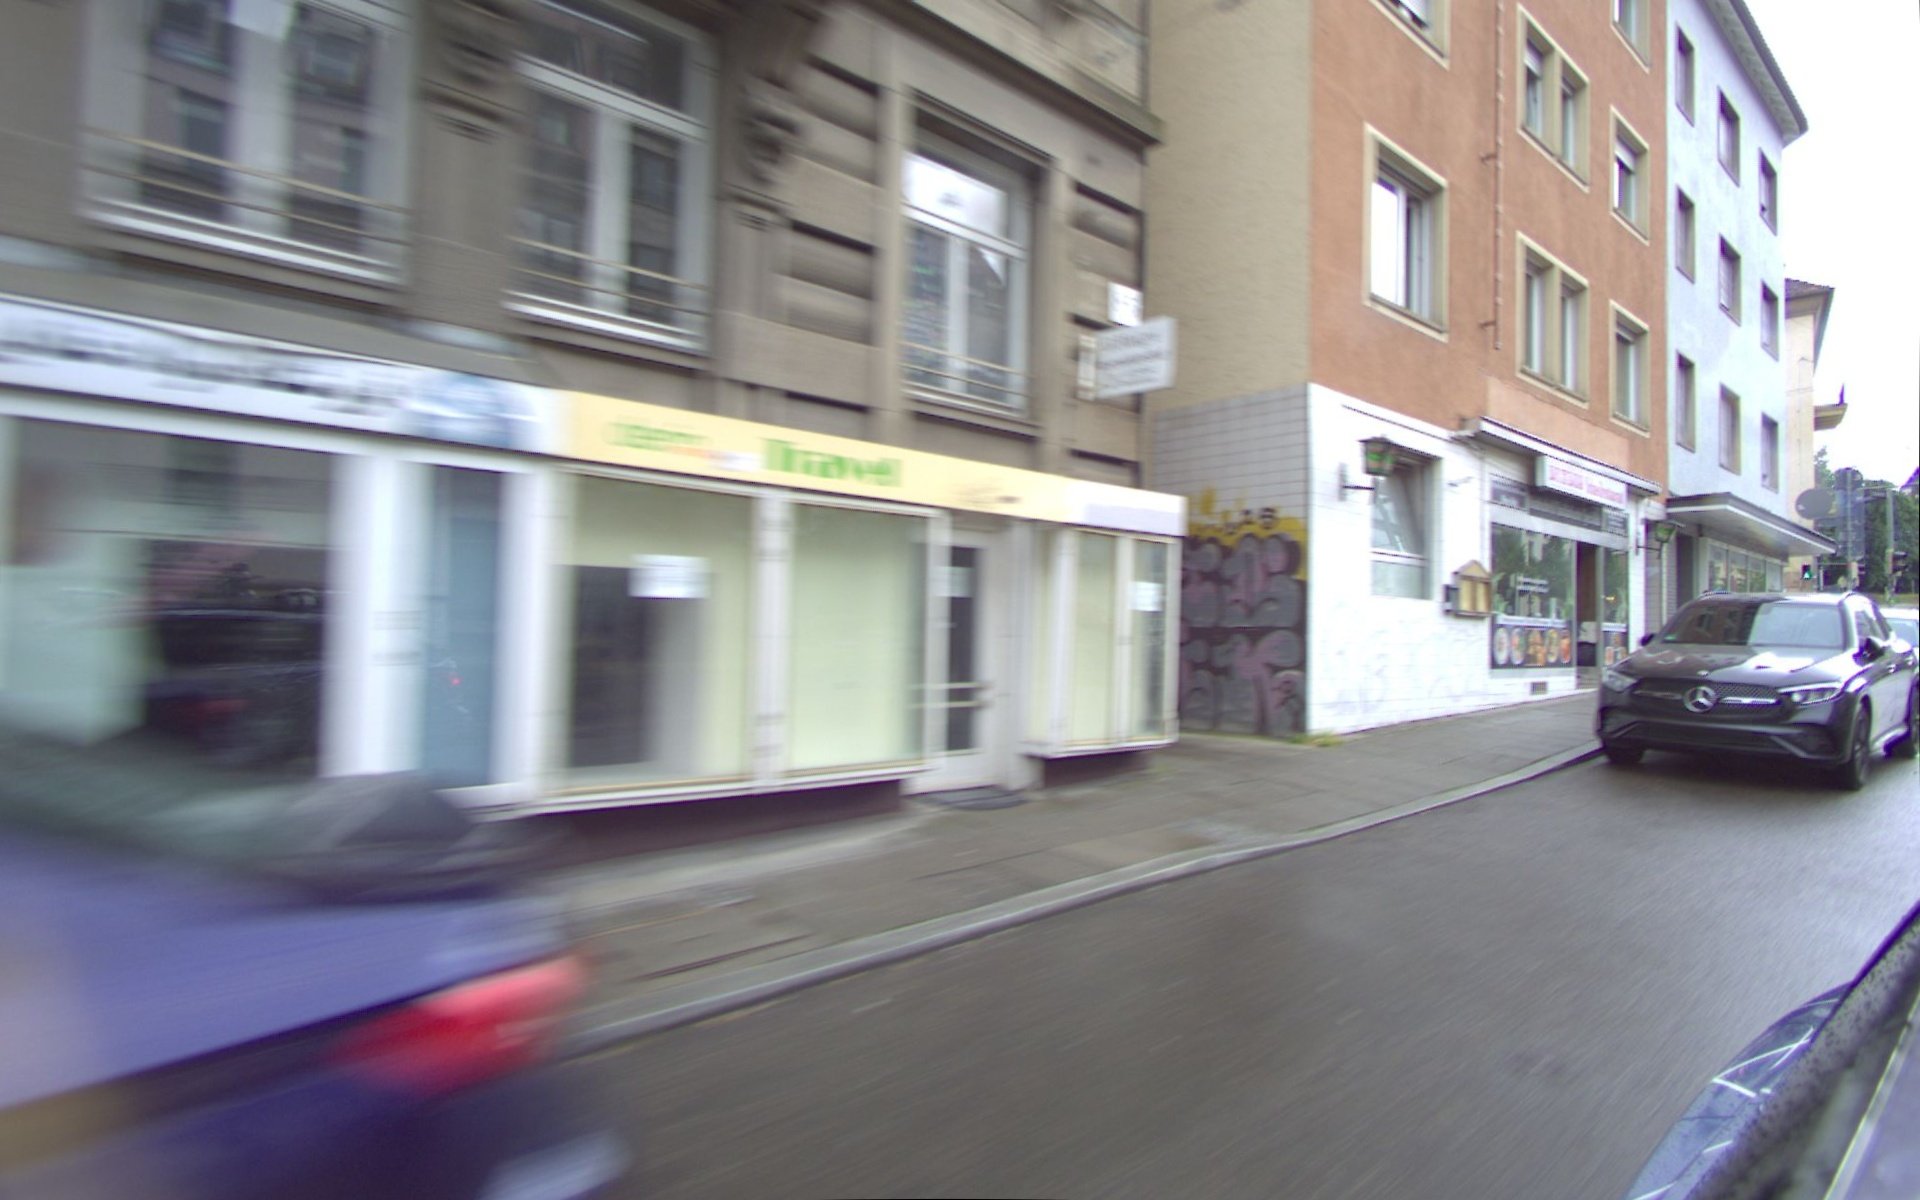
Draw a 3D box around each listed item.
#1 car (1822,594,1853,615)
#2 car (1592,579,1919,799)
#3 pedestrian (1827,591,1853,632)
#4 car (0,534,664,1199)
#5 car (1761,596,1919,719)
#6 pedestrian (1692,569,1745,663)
[{"bbox_3d":[76.642,0.407,88.400,1.717,1.707,3.814,-3,-1,38],"label":"car"},{"bbox_3d":[7.978,0.643,9.837,4.506,1.653,1.848,-1,0,-41],"label":"car"},{"bbox_3d":[39.782,0.506,45.742,0.745,1.785,0.807,4,3,38],"label":"pedestrian"},{"bbox_3d":[-2.554,0.675,0.685,4.186,1.424,1.793,-1,1,-43],"label":"car"},{"bbox_3d":[12.963,0.721,14.265,4.505,1.474,1.805,1,0,-41],"label":"car"},{"bbox_3d":[13.372,0.284,17.836,0.687,1.592,0.752,2,-1,38],"label":"pedestrian"}]
